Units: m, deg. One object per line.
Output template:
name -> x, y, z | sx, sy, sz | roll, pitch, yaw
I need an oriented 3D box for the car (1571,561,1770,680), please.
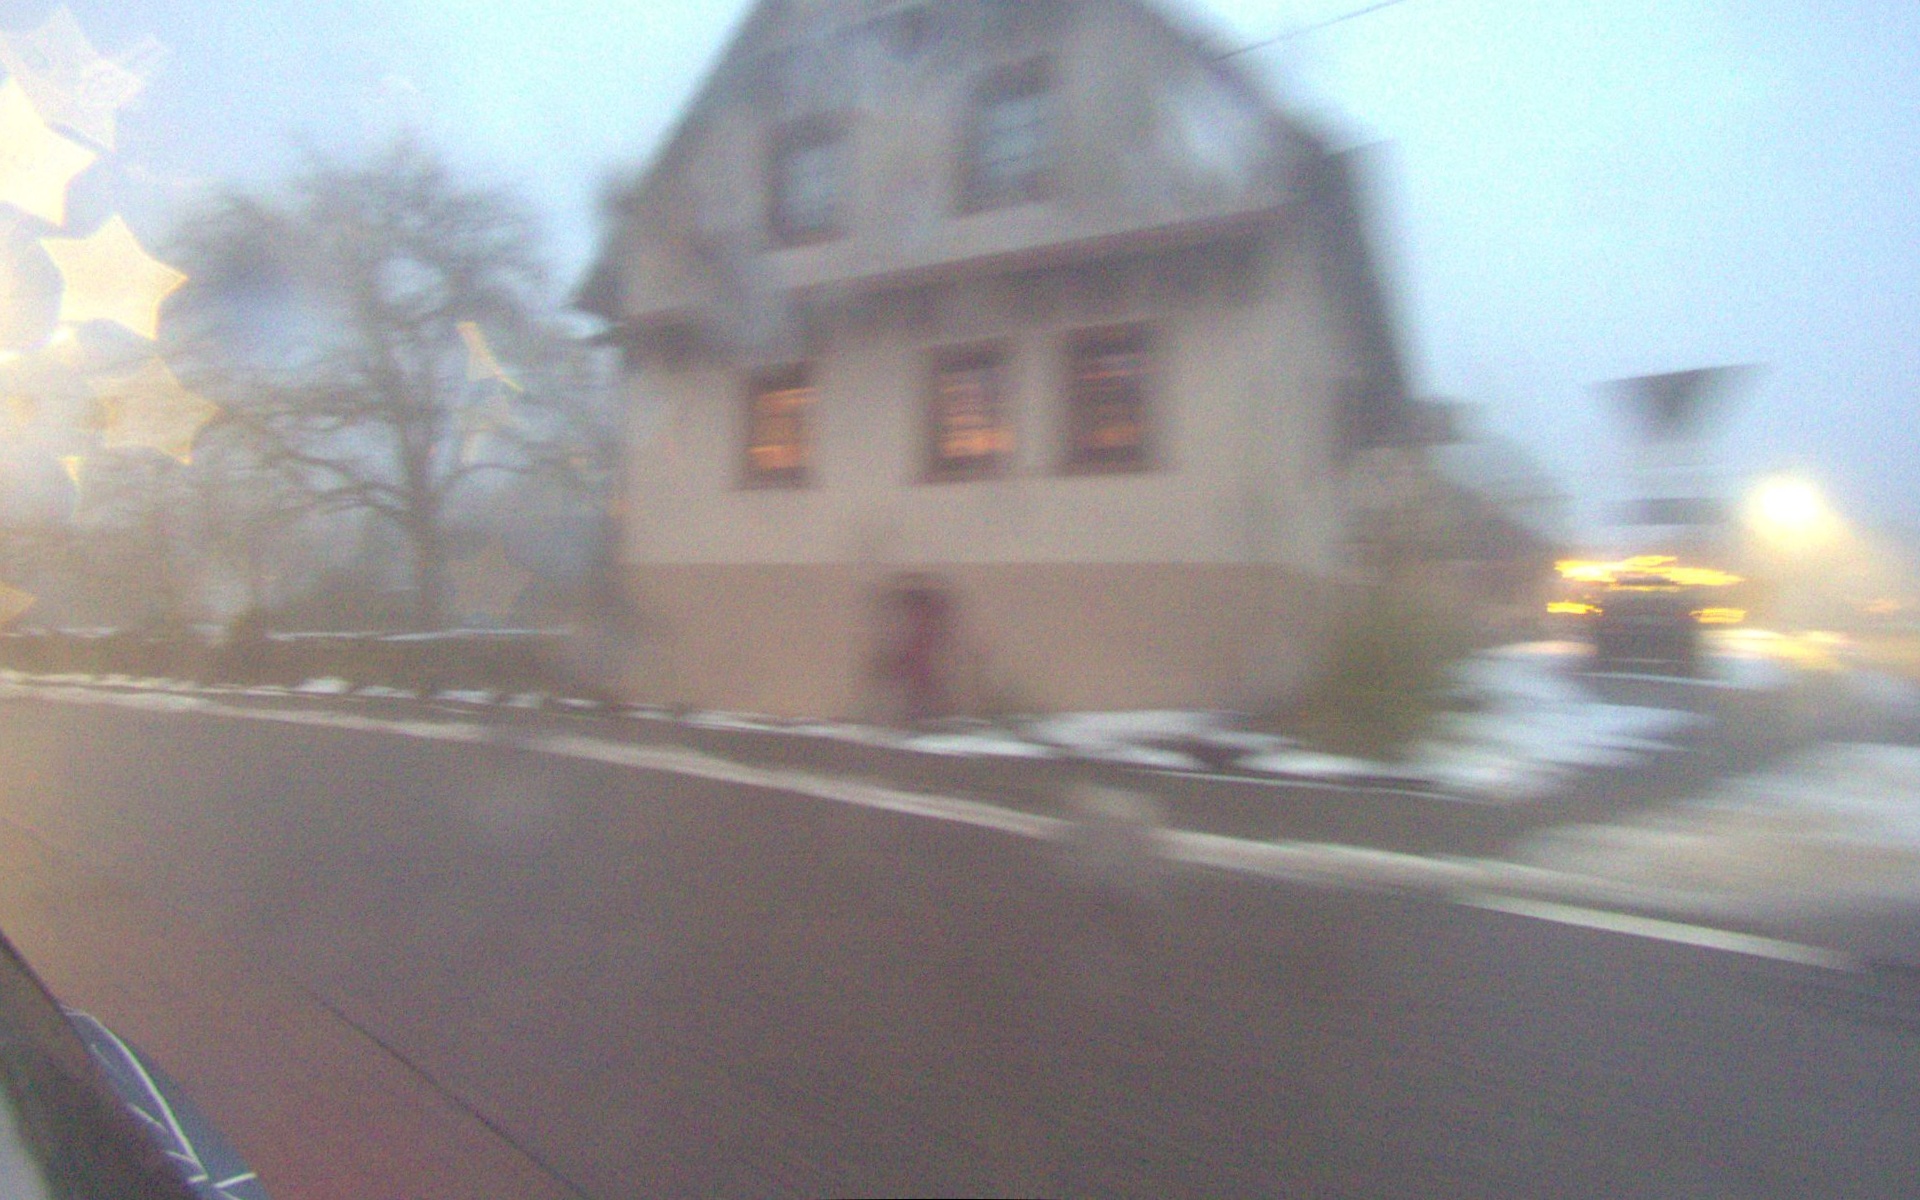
car -> 10.613, 0.252, 15.429 | 1.991, 1.541, 3.962 | 0, 0, 28
